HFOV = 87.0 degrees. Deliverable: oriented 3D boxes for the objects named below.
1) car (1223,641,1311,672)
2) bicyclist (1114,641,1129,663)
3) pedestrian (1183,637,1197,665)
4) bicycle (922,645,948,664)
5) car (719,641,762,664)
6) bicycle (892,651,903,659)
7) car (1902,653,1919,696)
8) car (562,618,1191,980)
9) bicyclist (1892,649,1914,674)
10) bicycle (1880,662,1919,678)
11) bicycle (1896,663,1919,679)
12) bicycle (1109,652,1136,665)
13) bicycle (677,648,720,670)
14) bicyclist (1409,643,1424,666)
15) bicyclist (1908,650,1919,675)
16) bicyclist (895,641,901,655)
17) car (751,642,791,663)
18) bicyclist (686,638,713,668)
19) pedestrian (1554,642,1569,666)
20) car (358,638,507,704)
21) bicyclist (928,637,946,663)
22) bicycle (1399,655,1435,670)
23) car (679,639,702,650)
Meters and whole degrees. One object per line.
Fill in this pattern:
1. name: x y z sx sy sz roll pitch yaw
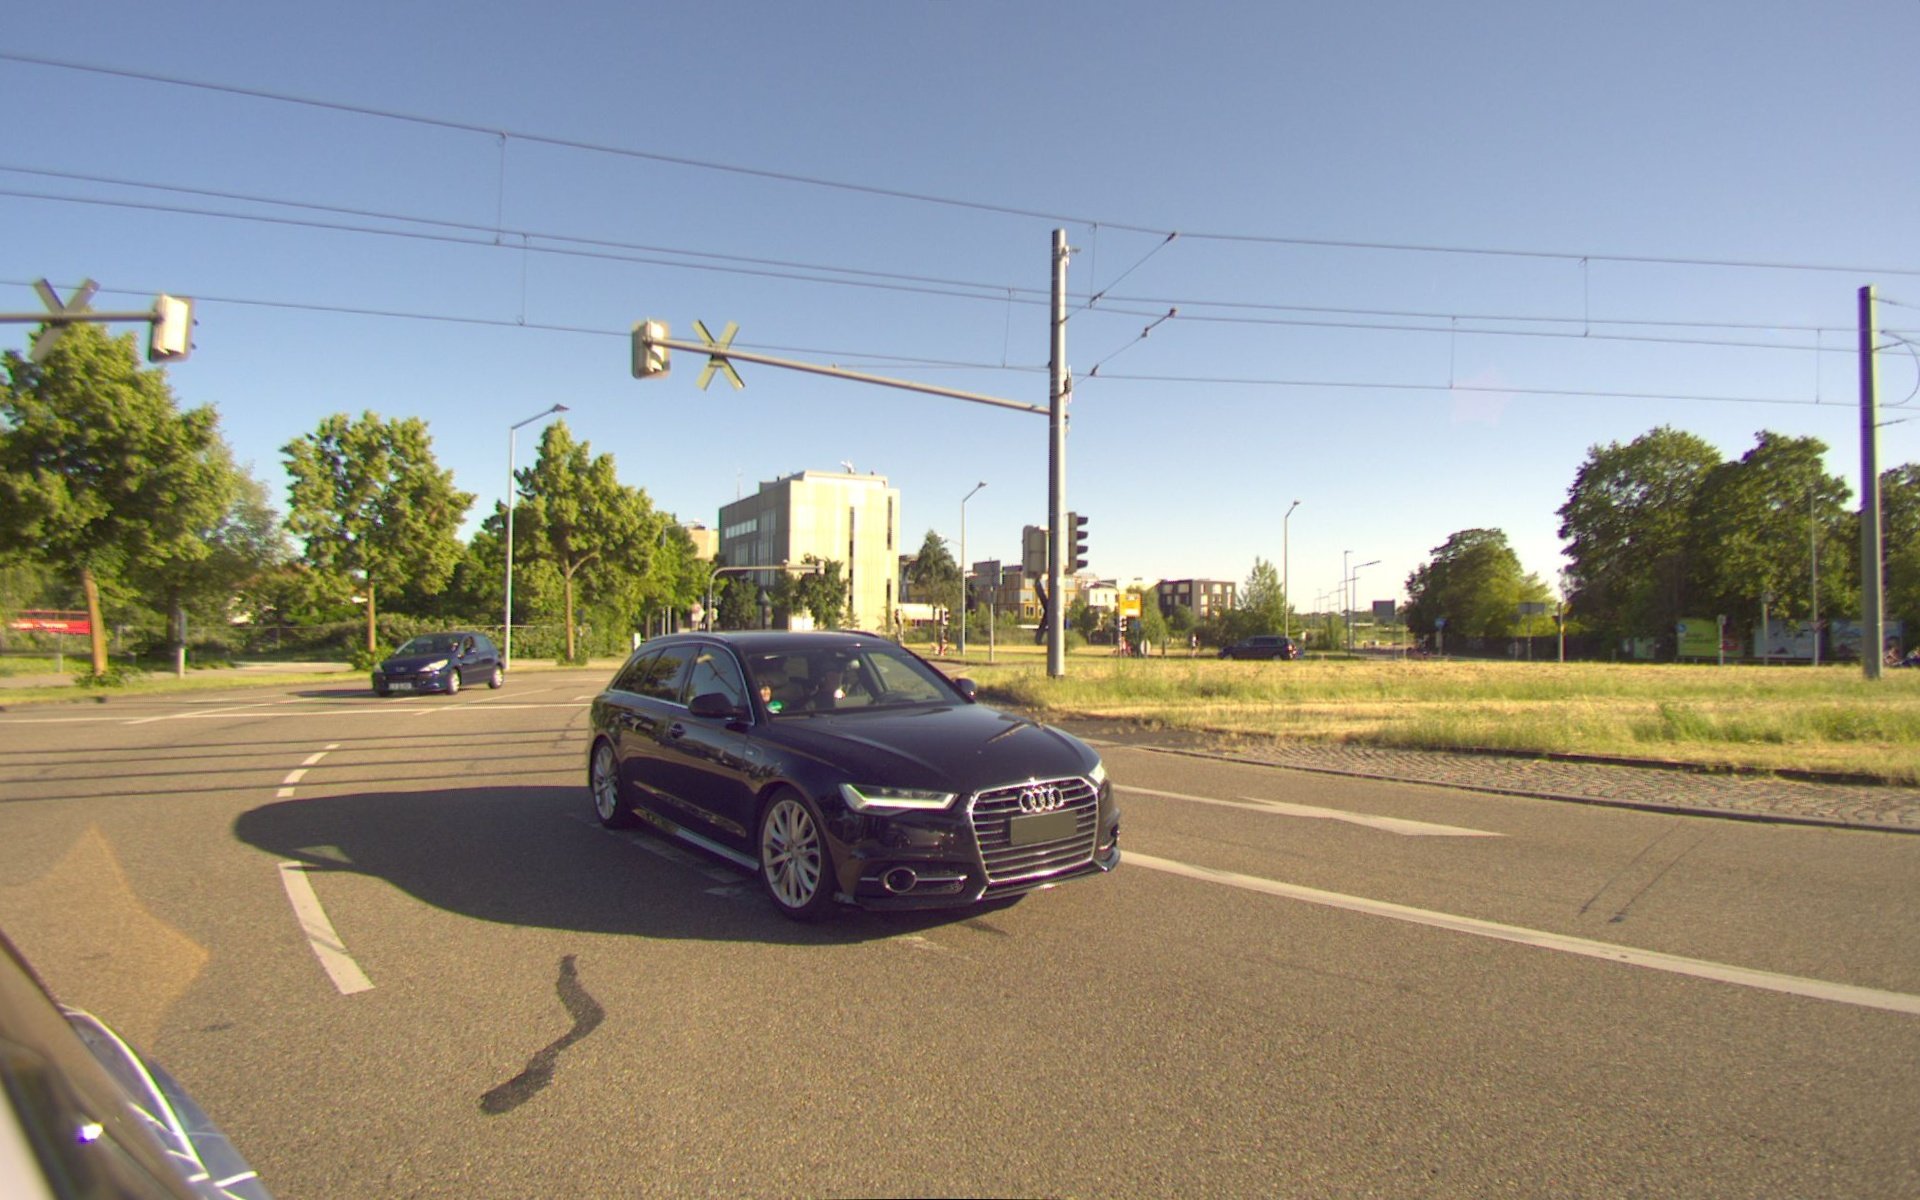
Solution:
1. car: 18.757 3.398 61.783 4.980 1.799 2.444 -1 -2 23
2. bicyclist: 11.641 3.746 72.887 0.909 1.529 0.619 1 -3 -22
3. pedestrian: 16.688 3.698 73.393 0.936 2.021 0.585 -1 -3 18
4. bicycle: -1.613 3.519 65.554 1.629 1.137 0.706 1 -2 -38
5. car: -14.747 3.485 67.725 1.695 1.390 4.081 0 -1 -29
6. bicycle: -6.834 5.993 110.733 0.483 0.859 1.895 1 -3 -24
7. car: 42.168 3.155 42.318 1.748 1.799 3.921 2 -3 -44
8. car: -1.019 0.899 6.651 1.769 1.454 5.028 2 -3 -36
9. bicyclist: 52.800 3.452 56.679 0.608 1.403 0.838 2 -4 -43
10. bicycle: 52.825 3.914 56.625 0.608 0.859 1.891 2 -4 -42
11. bicycle: 52.641 3.895 55.492 0.608 0.859 1.891 2 -4 -42
12. bicycle: 11.686 4.214 72.889 1.856 0.859 0.619 1 -3 -22
13. bicycle: -14.369 3.254 55.639 0.875 1.164 2.188 0 -3 38
14. bicyclist: 32.065 3.812 71.059 0.828 1.592 0.658 -1 -3 18
15. bicyclist: 52.602 3.433 55.548 0.608 1.403 0.720 3 -4 -43
16. bicyclist: -6.803 5.223 110.685 0.425 1.576 0.854 1 -3 -24
17. car: -13.419 3.661 71.744 1.904 1.390 4.551 1 -2 -22
18. bicyclist: -14.351 2.923 55.673 0.875 1.574 1.074 0 -3 38
19. pedestrian: 51.697 4.617 86.980 0.892 2.029 0.815 0 -2 14
20. car: -12.725 1.698 24.725 1.732 1.465 4.002 -1 -3 -3
21. bicyclist: -1.465 3.251 65.691 0.927 1.676 0.706 1 -2 -38
22. bicycle: 32.056 4.365 71.066 2.244 0.995 0.658 -1 -2 19
23. car: -37.795 6.222 141.941 1.975 1.553 4.337 2 -3 -31
